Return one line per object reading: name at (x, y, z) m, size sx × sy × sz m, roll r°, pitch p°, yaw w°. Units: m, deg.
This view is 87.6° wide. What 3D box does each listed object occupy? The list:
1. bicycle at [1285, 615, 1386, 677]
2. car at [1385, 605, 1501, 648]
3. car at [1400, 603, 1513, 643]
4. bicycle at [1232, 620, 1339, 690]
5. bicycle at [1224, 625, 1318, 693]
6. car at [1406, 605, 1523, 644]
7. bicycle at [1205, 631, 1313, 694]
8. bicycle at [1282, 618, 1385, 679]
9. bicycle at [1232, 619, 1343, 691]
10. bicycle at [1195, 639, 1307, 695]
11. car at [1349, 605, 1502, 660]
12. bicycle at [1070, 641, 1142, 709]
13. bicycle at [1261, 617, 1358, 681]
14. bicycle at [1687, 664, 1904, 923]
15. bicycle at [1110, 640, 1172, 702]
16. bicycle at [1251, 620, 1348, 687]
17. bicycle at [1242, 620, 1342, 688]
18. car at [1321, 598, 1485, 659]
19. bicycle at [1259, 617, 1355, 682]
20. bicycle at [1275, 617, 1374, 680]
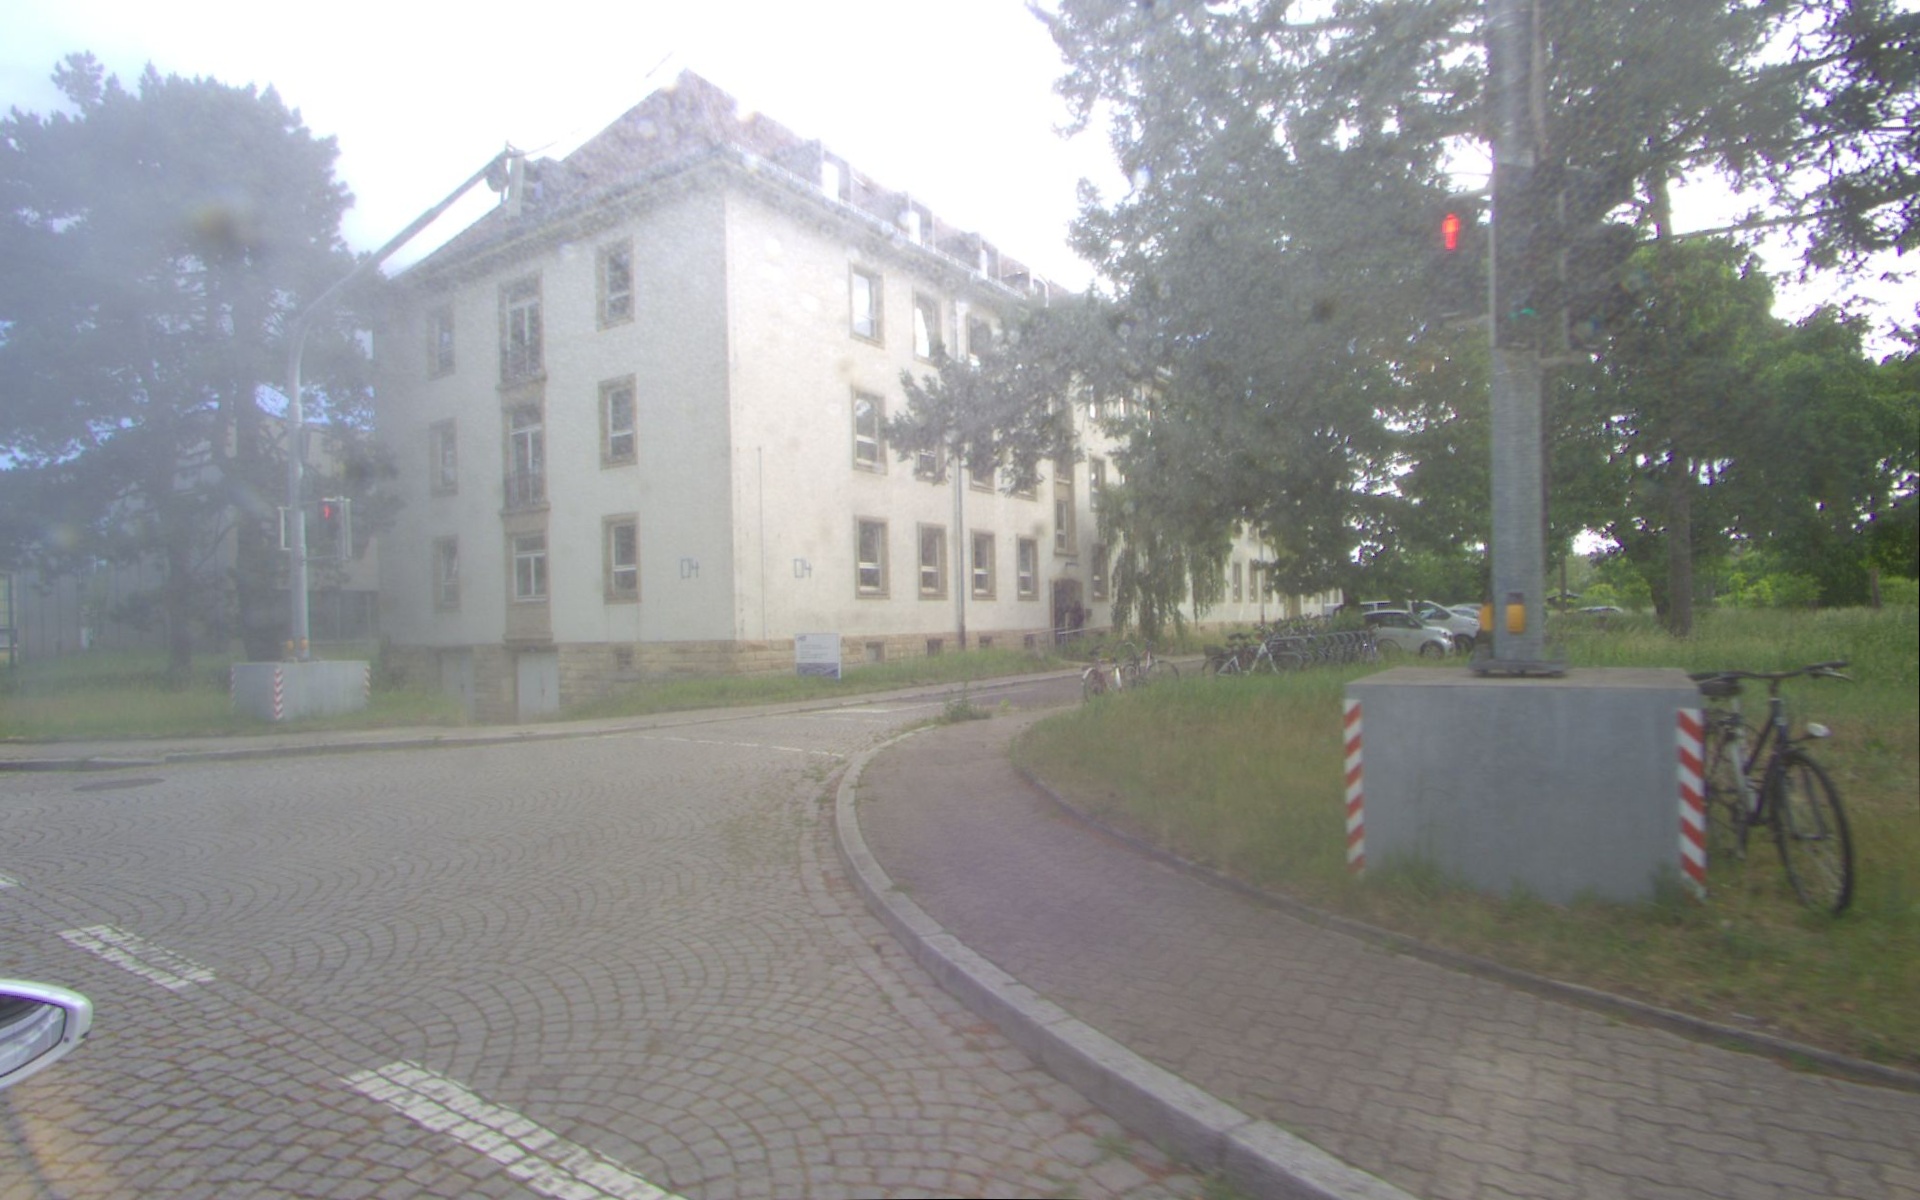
bicycle at (8.757, 1.064, 23.421) m, size 2.077 × 1.385 × 0.754 m, roll -2°, pitch -1°, yaw 39°
car at (19.395, 1.072, 40.248) m, size 3.946 × 1.639 × 1.988 m, roll -2°, pitch -1°, yaw 34°
car at (23.746, 1.104, 47.937) m, size 4.632 × 1.796 × 1.988 m, roll -2°, pitch -1°, yaw 34°
bicycle at (6.507, 1.083, 20.096) m, size 1.952 × 1.337 × 0.574 m, roll -2°, pitch -1°, yaw 39°
bicycle at (5.948, 1.115, 19.181) m, size 1.619 × 1.231 × 0.539 m, roll -2°, pitch -1°, yaw 39°
car at (22.593, 1.122, 44.871) m, size 4.456 × 1.639 × 1.988 m, roll -2°, pitch -1°, yaw 34°
bicycle at (5.573, 1.146, 18.738) m, size 1.879 × 1.115 × 0.539 m, roll -2°, pitch -1°, yaw 39°
bicycle at (8.468, 1.087, 22.761) m, size 2.106 × 1.337 × 0.552 m, roll -2°, pitch -1°, yaw 39°
bicycle at (6.355, 1.062, 19.515) m, size 2.023 × 1.337 × 0.435 m, roll -2°, pitch -1°, yaw 39°
bicycle at (5.259, 1.198, 18.163) m, size 1.879 × 0.961 × 0.539 m, roll -2°, pitch -1°, yaw 39°
car at (13.918, 0.975, 29.974) m, size 3.880 × 1.550 × 1.851 m, roll -2°, pitch -1°, yaw 36°
bicycle at (2.368, 1.180, 16.141) m, size 0.523 × 0.992 × 1.617 m, roll -1°, pitch -1°, yaw 32°
bicycle at (7.645, 1.062, 21.953) m, size 1.915 × 1.337 × 0.551 m, roll -2°, pitch -1°, yaw 39°
bicycle at (3.745, 0.776, 4.601) m, size 0.565 × 0.885 × 1.696 m, roll -1°, pitch -1°, yaw 33°
bicycle at (3.208, 1.231, 17.684) m, size 0.535 × 1.027 × 1.533 m, roll -1°, pitch -1°, yaw 32°
bicycle at (7.082, 1.110, 20.961) m, size 1.895 × 1.337 × 0.390 m, roll -2°, pitch -1°, yaw 39°
bicycle at (6.812, 1.101, 20.600) m, size 1.897 × 1.337 × 0.503 m, roll -2°, pitch -1°, yaw 39°
car at (14.674, 0.962, 33.503) m, size 4.776 × 1.934 × 2.236 m, roll -1°, pitch -1°, yaw 18°
bicycle at (7.395, 1.045, 21.387) m, size 1.830 × 1.337 × 0.553 m, roll -2°, pitch -1°, yaw 39°
bicycle at (8.102, 1.074, 22.324) m, size 1.991 × 1.337 × 0.538 m, roll -2°, pitch -1°, yaw 39°
